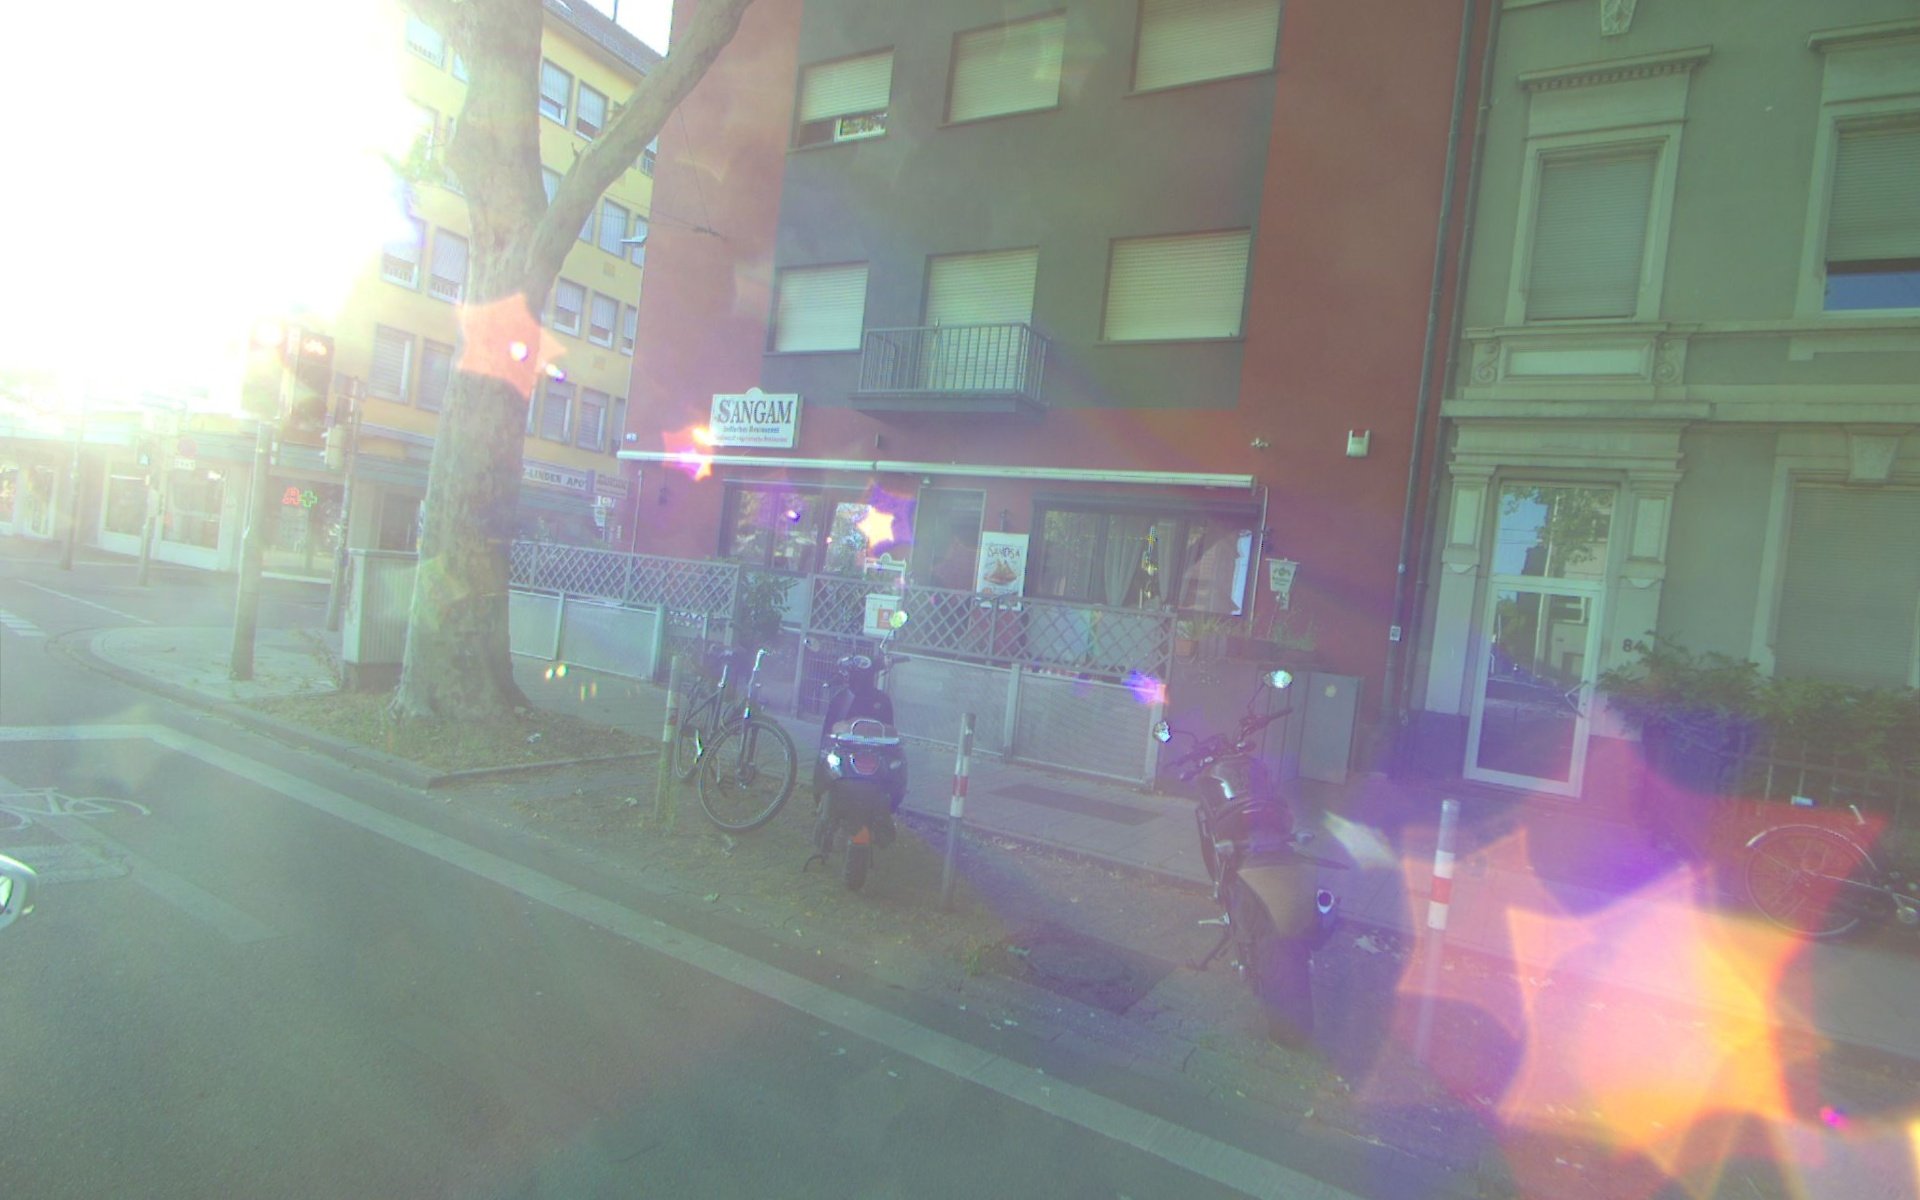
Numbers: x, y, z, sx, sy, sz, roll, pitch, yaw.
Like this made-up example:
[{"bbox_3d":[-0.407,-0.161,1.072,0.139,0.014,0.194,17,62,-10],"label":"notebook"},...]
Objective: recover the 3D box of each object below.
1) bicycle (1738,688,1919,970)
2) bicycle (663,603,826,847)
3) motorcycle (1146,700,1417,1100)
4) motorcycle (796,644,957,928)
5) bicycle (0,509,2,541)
[{"bbox_3d":[5.864,1.375,5.508,2.356,1.443,0.608,6,-1,32],"label":"bicycle"},{"bbox_3d":[-1.493,0.743,6.682,0.686,1.219,1.837,8,2,-20],"label":"bicycle"},{"bbox_3d":[1.316,1.153,4.621,0.752,1.077,2.212,7,2,9],"label":"motorcycle"},{"bbox_3d":[-0.543,0.916,5.656,0.591,1.166,1.994,6,0,-10],"label":"motorcycle"},{"bbox_3d":[-23.434,-1.710,23.212,0.683,1.034,1.774,7,1,31],"label":"bicycle"}]
